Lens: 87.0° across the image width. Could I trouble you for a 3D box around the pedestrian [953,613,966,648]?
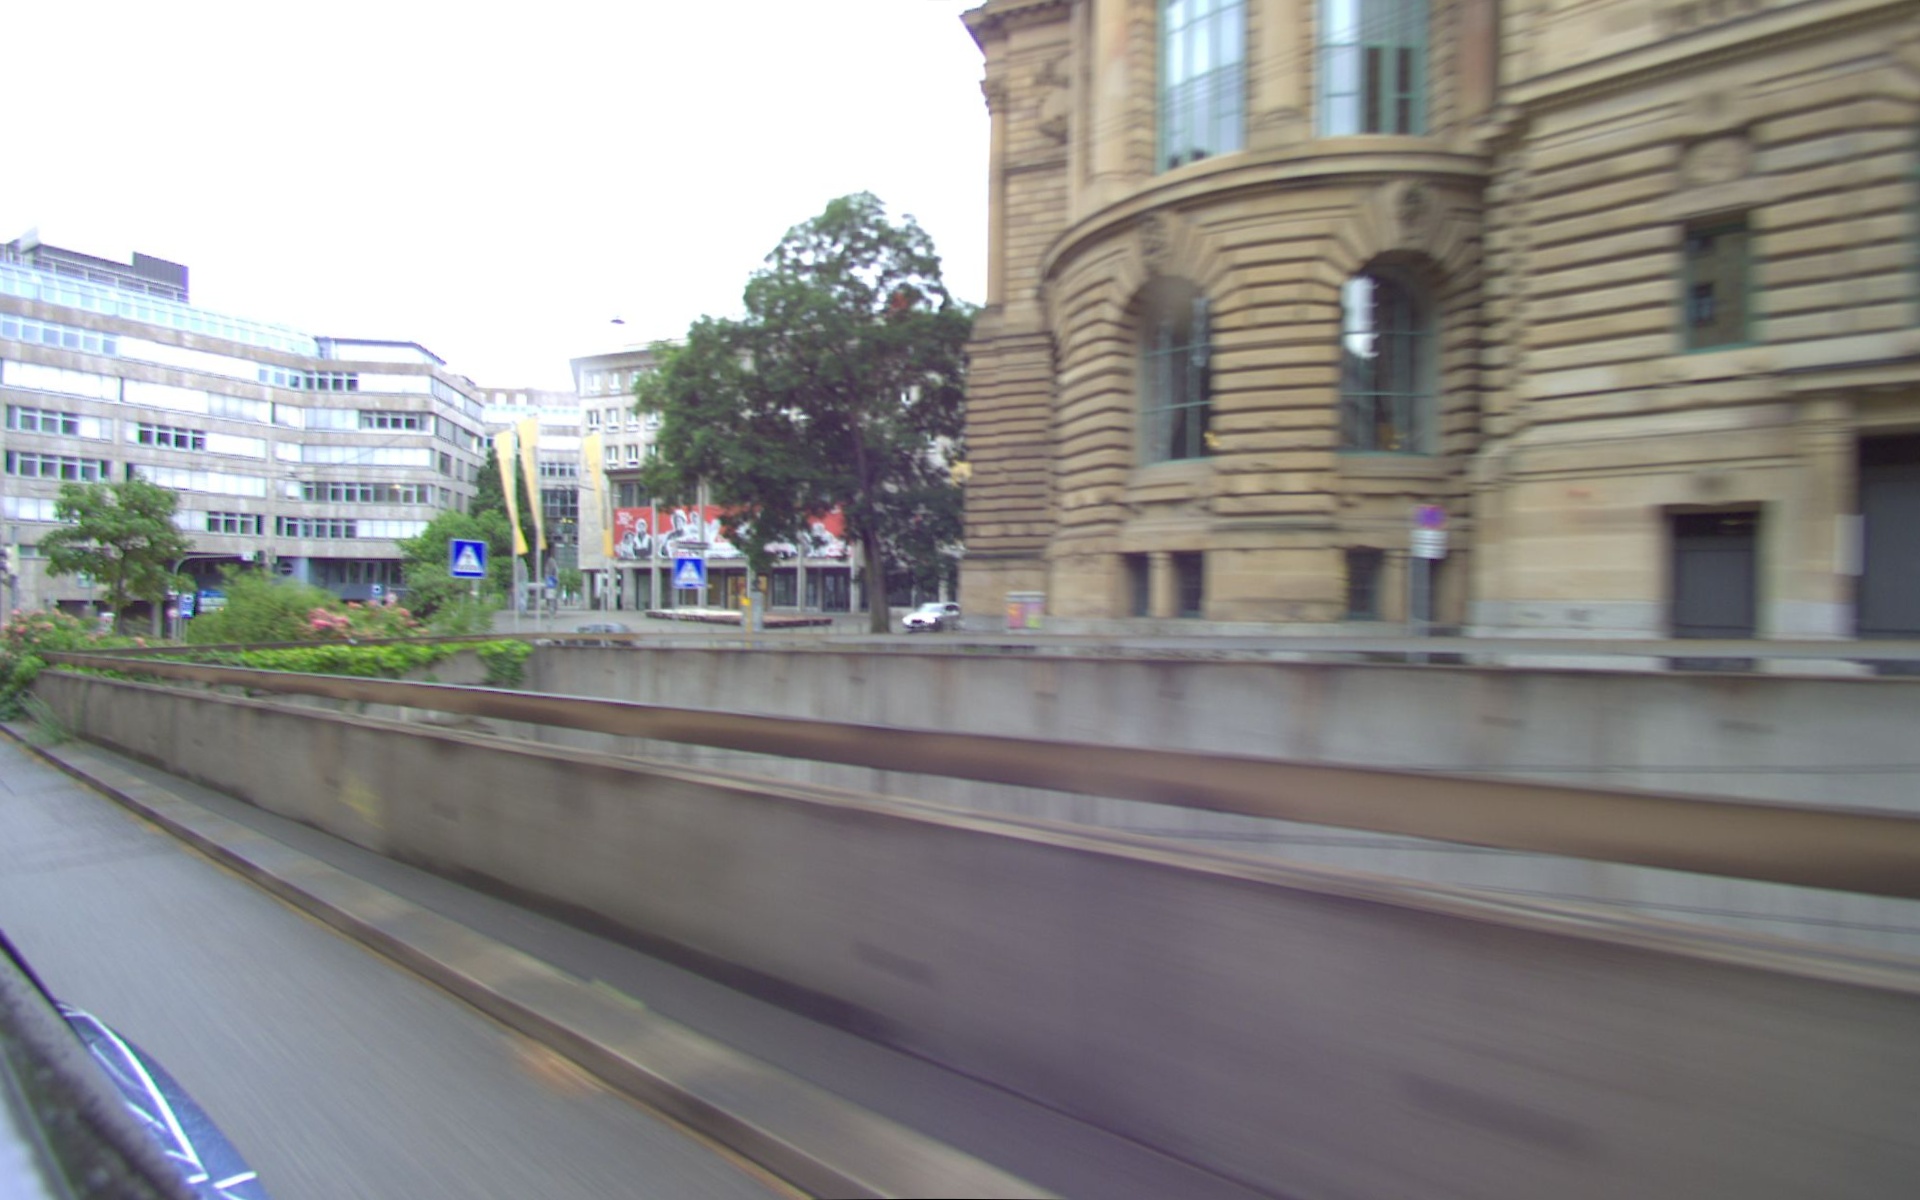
[{"bbox_3d":[-0.023,1.402,47.009,0.496,1.636,0.384,-1,-1,22],"label":"pedestrian"}]
